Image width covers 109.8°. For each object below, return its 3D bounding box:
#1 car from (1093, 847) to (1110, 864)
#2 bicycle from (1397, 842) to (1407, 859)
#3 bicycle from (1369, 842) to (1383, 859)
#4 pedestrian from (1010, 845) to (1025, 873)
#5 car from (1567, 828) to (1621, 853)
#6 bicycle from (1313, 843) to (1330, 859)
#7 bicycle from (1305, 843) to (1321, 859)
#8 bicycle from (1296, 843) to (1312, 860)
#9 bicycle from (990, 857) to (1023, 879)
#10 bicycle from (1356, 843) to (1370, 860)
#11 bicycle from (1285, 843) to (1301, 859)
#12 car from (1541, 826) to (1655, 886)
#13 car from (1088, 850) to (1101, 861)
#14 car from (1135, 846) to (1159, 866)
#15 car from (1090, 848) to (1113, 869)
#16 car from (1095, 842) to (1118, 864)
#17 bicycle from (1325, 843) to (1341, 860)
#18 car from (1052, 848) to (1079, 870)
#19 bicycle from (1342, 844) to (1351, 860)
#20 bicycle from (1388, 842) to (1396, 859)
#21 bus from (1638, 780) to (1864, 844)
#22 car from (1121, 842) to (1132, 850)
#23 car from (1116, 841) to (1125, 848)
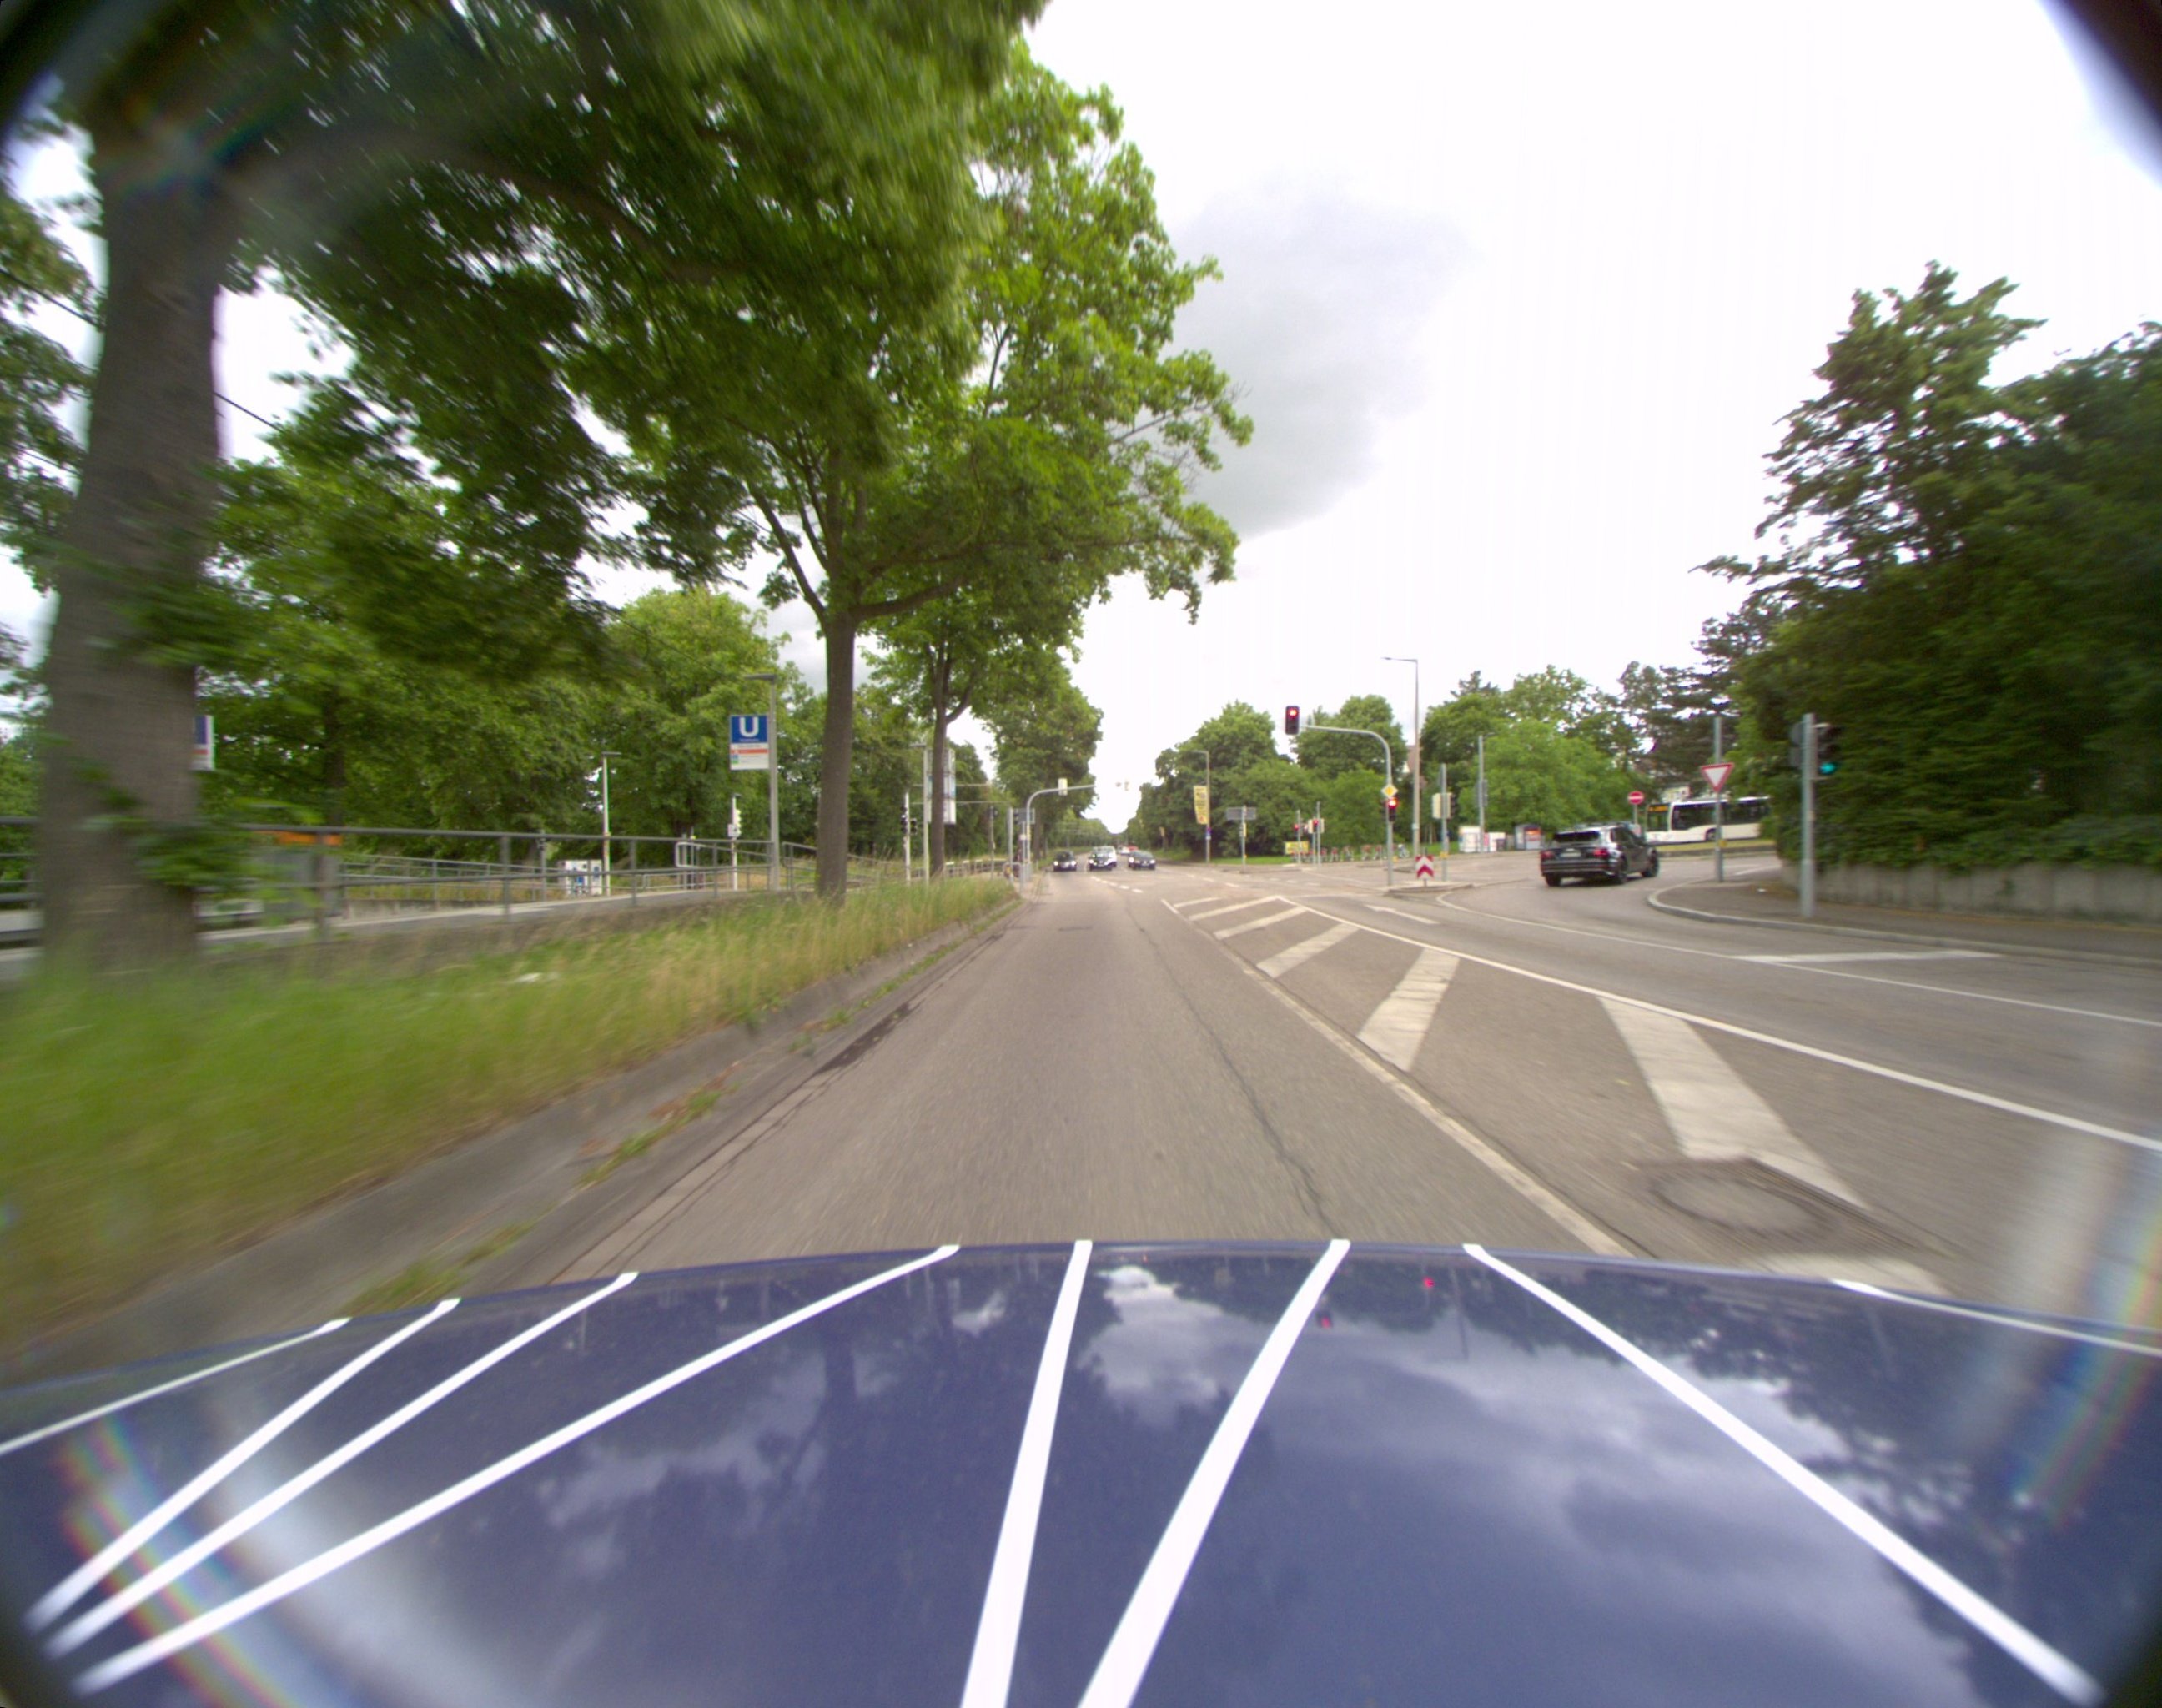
[{"bbox_3d":[2.379,0.120,86.612,1.807,1.784,4.502,-2,1,1],"label":"car"},{"bbox_3d":[24.876,-0.318,58.893,0.544,1.245,1.937,-2,1,18],"label":"bicycle"},{"bbox_3d":[23.136,-0.246,59.526,0.544,1.245,1.939,-2,2,34],"label":"bicycle"},{"bbox_3d":[-4.054,0.322,48.679,0.753,1.727,0.840,2,1,6],"label":"pedestrian"},{"bbox_3d":[33.647,-0.895,49.795,4.350,1.456,1.743,-4,2,-39],"label":"car"},{"bbox_3d":[19.408,-0.244,61.298,0.544,1.245,1.939,-1,2,39],"label":"bicycle"},{"bbox_3d":[18.884,-0.248,61.906,0.544,1.245,1.939,-1,2,39],"label":"bicycle"},{"bbox_3d":[18.341,-0.213,62.391,0.544,1.245,1.939,-2,1,39],"label":"bicycle"},{"bbox_3d":[-3.916,0.718,39.966,1.679,1.084,0.602,2,1,-3],"label":"bicycle"},{"bbox_3d":[22.268,-0.212,59.899,0.544,1.245,1.939,-2,2,34],"label":"bicycle"},{"bbox_3d":[17.500,-0.249,62.619,0.544,1.245,1.939,-1,2,39],"label":"bicycle"},{"bbox_3d":[16.106,-0.004,23.551,5.090,1.669,1.903,-2,1,-44],"label":"car"},{"bbox_3d":[1.759,0.203,95.180,1.558,1.260,3.822,-1,1,2],"label":"car"},{"bbox_3d":[4.997,0.158,57.969,1.560,1.458,3.807,1,1,1],"label":"car"},{"bbox_3d":[1.544,0.310,58.236,1.708,1.472,3.667,-1,1,1],"label":"car"},{"bbox_3d":[2.261,-0.140,68.695,1.911,1.832,5.281,-1,1,1],"label":"car"},{"bbox_3d":[20.207,-0.222,60.828,0.544,1.245,1.939,-1,2,39],"label":"bicycle"},{"bbox_3d":[-1.186,0.351,59.480,1.807,1.520,3.929,-2,1,3],"label":"car"},{"bbox_3d":[21.116,-0.166,60.424,0.544,1.245,1.937,-2,1,18],"label":"bicycle"},{"bbox_3d":[24.215,-0.291,59.166,0.544,1.245,1.938,-2,1,24],"label":"bicycle"},{"bbox_3d":[44.890,-2.782,51.151,12.337,3.145,2.679,-5,1,3],"label":"bus"},{"bbox_3d":[9.135,-1.681,151.972,1.743,1.530,3.911,-2,1,7],"label":"car"},{"bbox_3d":[9.125,-2.203,175.186,1.743,1.530,3.910,-2,1,4],"label":"car"}]
